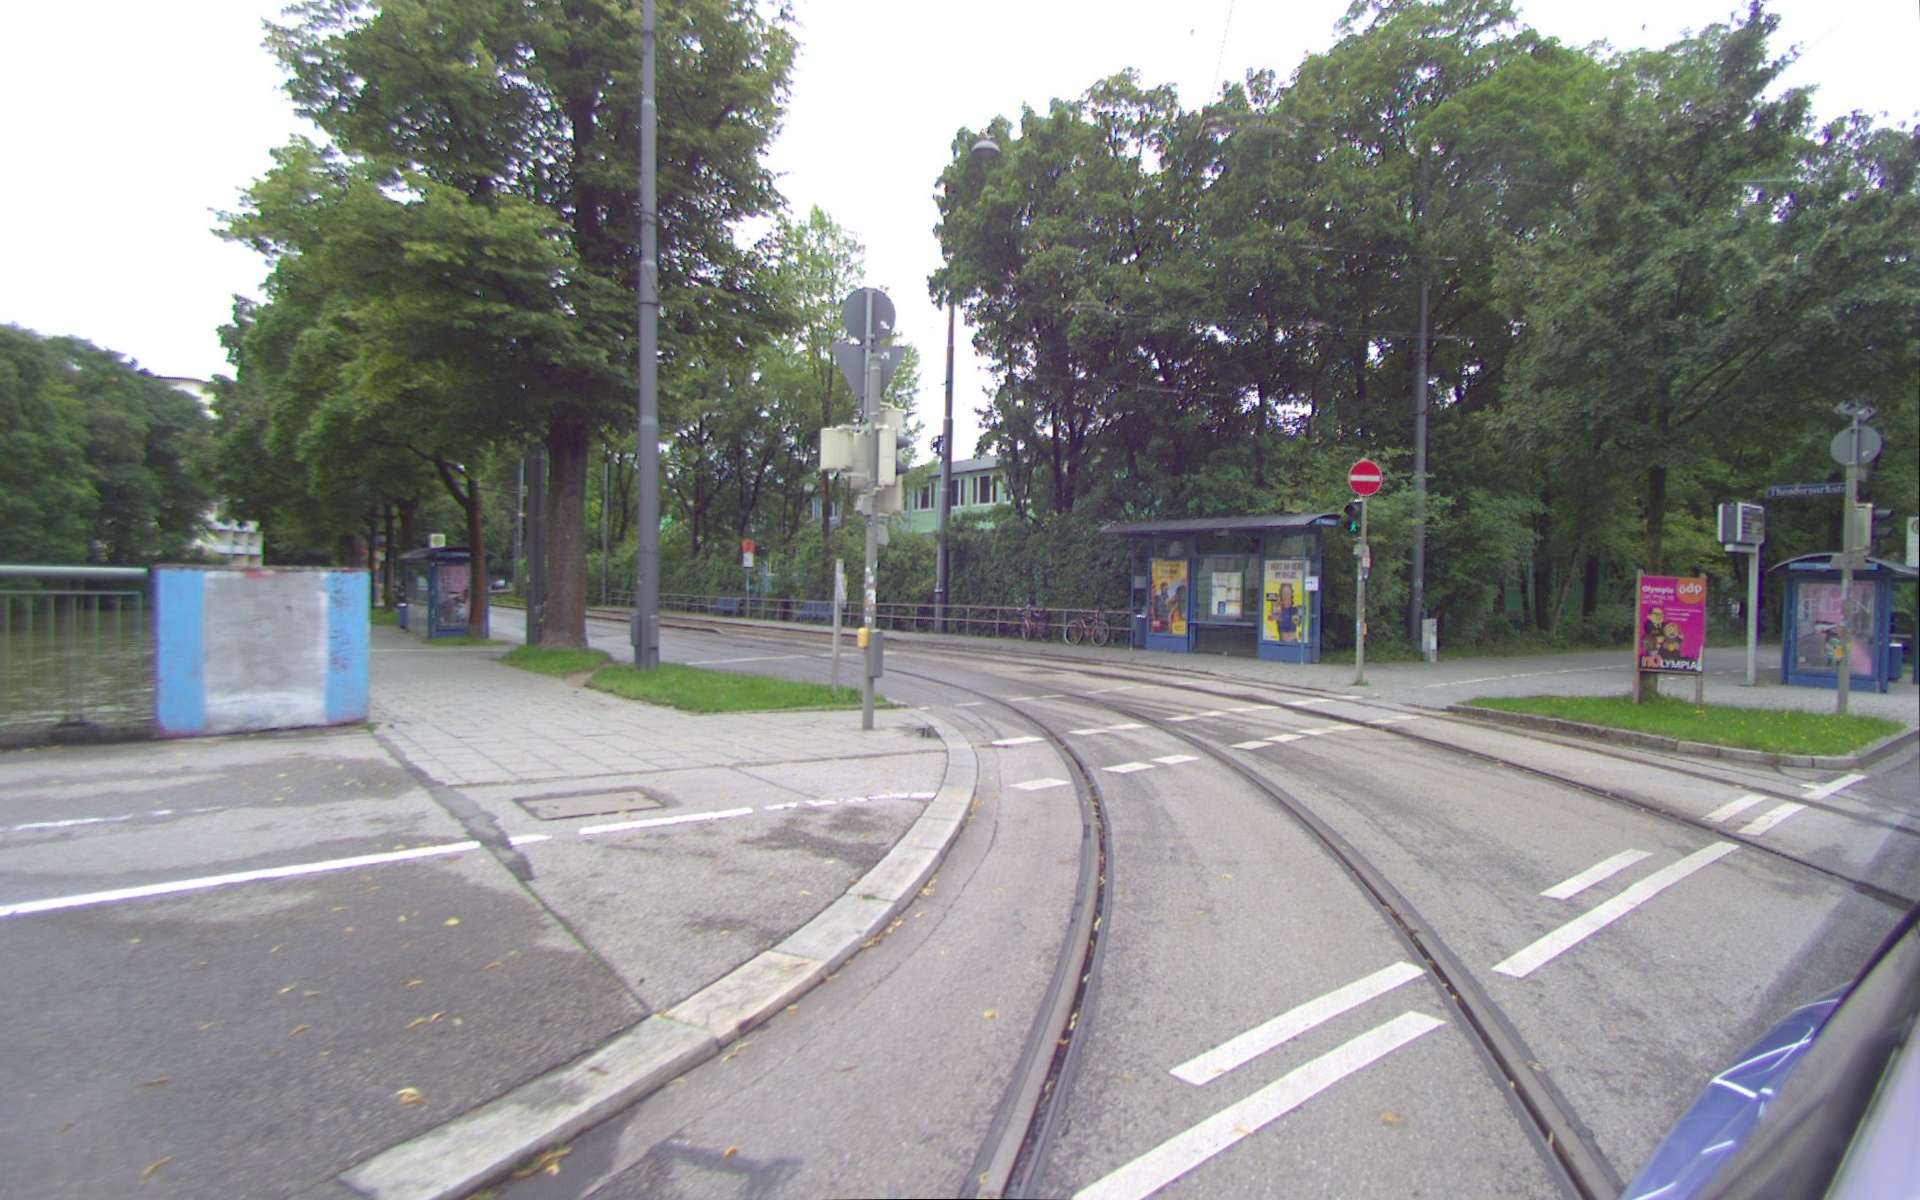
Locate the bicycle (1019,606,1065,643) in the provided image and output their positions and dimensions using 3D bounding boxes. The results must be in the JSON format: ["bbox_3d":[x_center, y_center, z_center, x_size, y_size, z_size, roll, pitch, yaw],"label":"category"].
[{"bbox_3d":[2.258,0.658,28.090,0.366,0.964,1.484,0,1,-37],"label":"bicycle"}]

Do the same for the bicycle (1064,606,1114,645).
[{"bbox_3d":[3.379,0.662,26.571,0.366,0.964,1.484,0,1,-37],"label":"bicycle"}]

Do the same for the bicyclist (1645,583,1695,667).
[{"bbox_3d":[15.199,0.519,21.665,0.714,1.751,0.725,0,0,-41],"label":"bicyclist"}]

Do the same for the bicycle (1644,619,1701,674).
[{"bbox_3d":[15.300,0.975,21.726,1.879,1.092,0.579,0,0,-41],"label":"bicycle"}]
